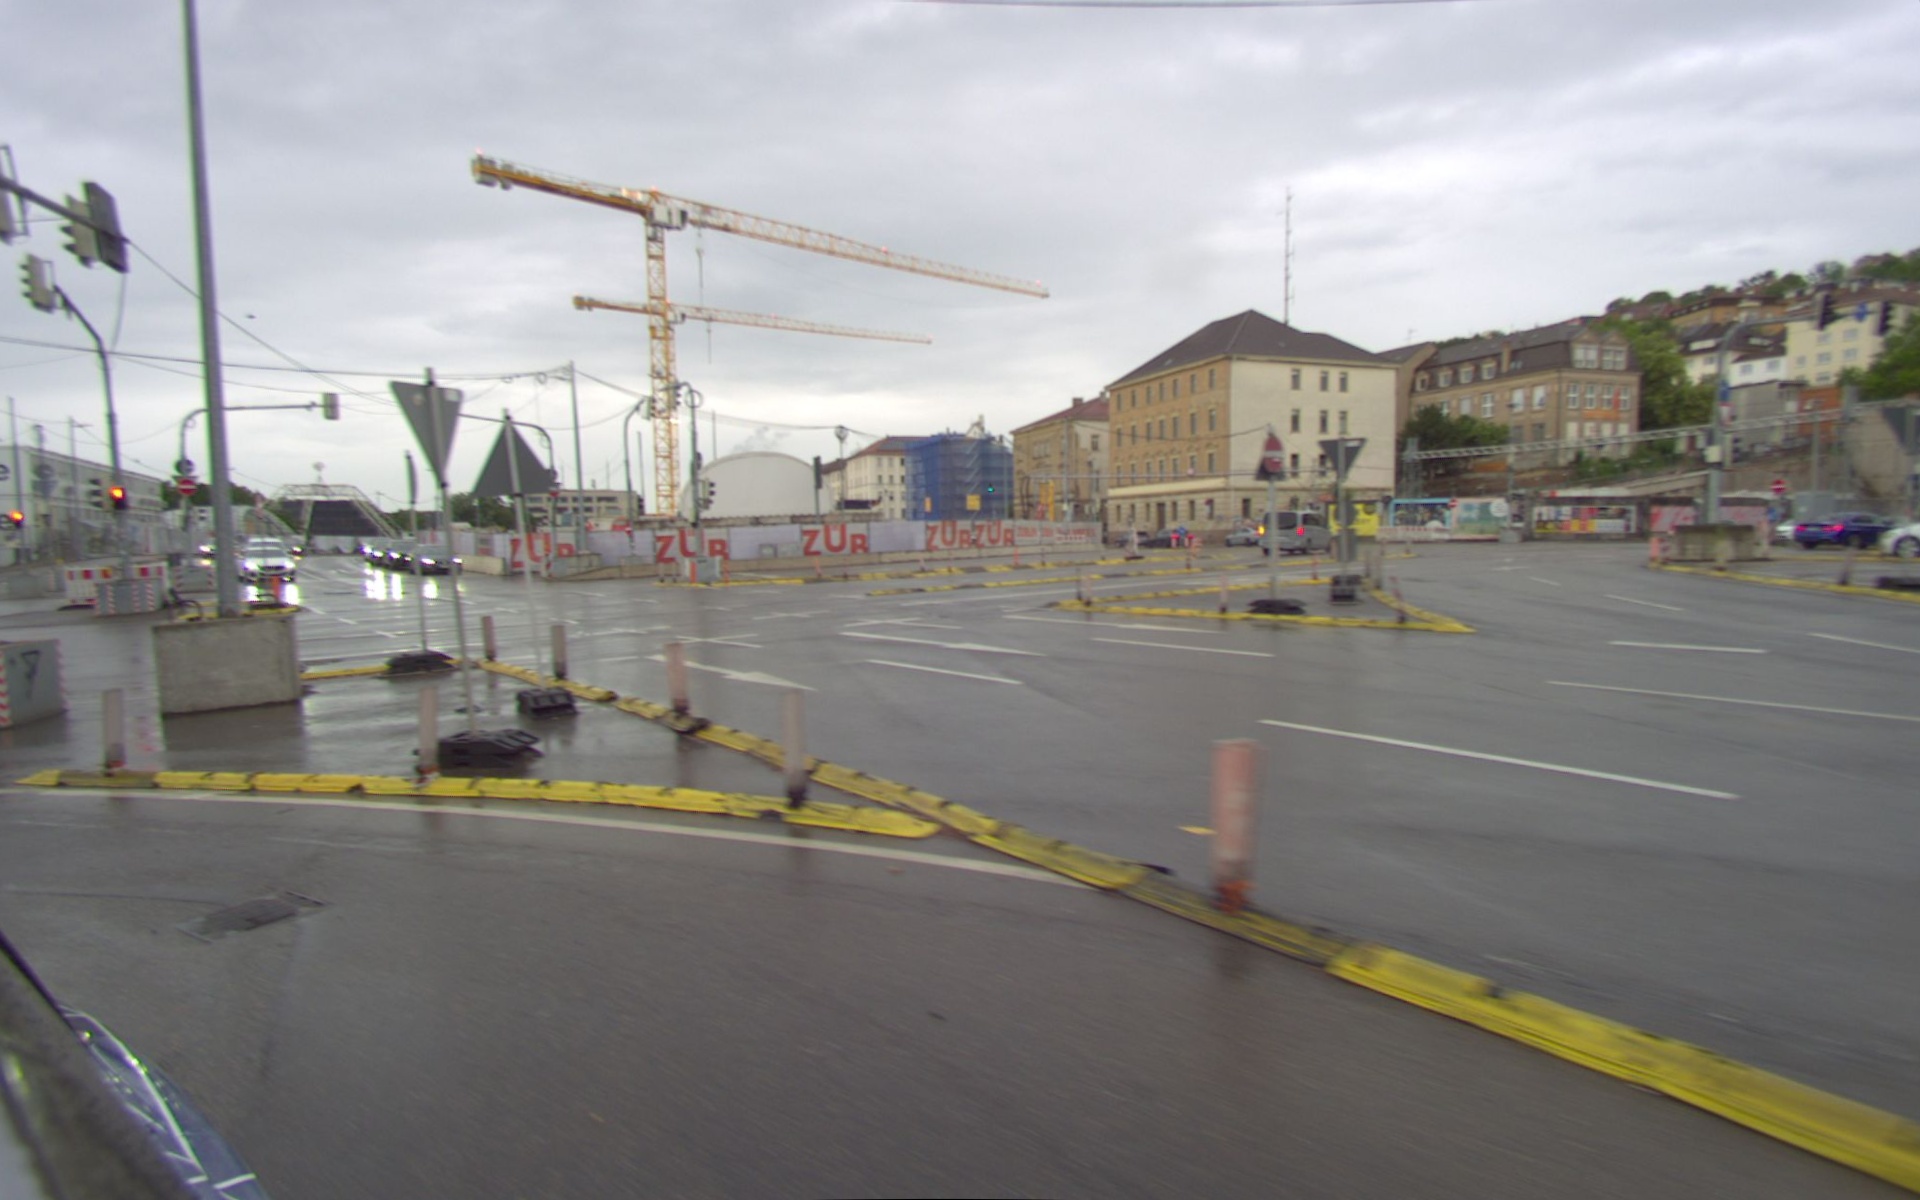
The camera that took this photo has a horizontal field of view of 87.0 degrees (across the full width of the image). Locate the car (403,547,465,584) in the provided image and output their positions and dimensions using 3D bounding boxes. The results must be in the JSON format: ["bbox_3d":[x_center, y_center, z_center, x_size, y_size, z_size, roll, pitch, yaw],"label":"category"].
[{"bbox_3d":[-25.290,-1.679,48.611,1.832,1.577,3.809,-6,6,-39],"label":"car"}]

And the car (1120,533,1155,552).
[{"bbox_3d":[15.645,-5.113,89.335,1.623,1.474,3.427,-4,6,-18],"label":"car"}]

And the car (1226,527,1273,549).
[{"bbox_3d":[20.668,-4.433,72.395,1.557,1.356,3.818,-3,6,-12],"label":"car"}]

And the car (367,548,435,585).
[{"bbox_3d":[-29.204,-1.754,52.834,1.971,1.730,4.427,-6,5,-43],"label":"car"}]

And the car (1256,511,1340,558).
[{"bbox_3d":[14.611,-2.844,43.618,1.998,1.852,4.625,2,6,38],"label":"car"}]

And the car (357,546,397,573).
[{"bbox_3d":[-37.229,-2.610,64.593,1.967,1.568,4.538,-5,5,-32],"label":"car"}]

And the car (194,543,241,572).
[{"bbox_3d":[-50.427,-2.913,68.818,1.966,1.784,4.371,-5,5,-29],"label":"car"}]

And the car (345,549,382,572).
[{"bbox_3d":[-34.315,-2.292,58.169,1.623,1.186,4.302,-7,6,-32],"label":"car"}]

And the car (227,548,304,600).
[{"bbox_3d":[-30.485,-1.154,44.396,1.971,2.028,4.427,-6,5,-43],"label":"car"}]

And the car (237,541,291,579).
[{"bbox_3d":[-36.012,-2.093,52.320,1.968,1.784,4.367,-6,5,-37],"label":"car"}]

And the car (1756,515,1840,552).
[{"bbox_3d":[51.273,-4.068,61.953,3.933,2.028,2.006,-4,5,-15],"label":"car"}]

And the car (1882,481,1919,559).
[{"bbox_3d":[26.807,-2.079,25.633,1.966,2.028,4.658,-5,5,-23],"label":"car"}]

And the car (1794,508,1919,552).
[{"bbox_3d":[34.723,-2.701,38.994,3.934,1.449,2.006,-4,4,-13],"label":"car"}]

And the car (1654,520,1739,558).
[{"bbox_3d":[43.597,-3.630,59.910,3.933,2.028,2.006,-4,5,-15],"label":"car"}]
